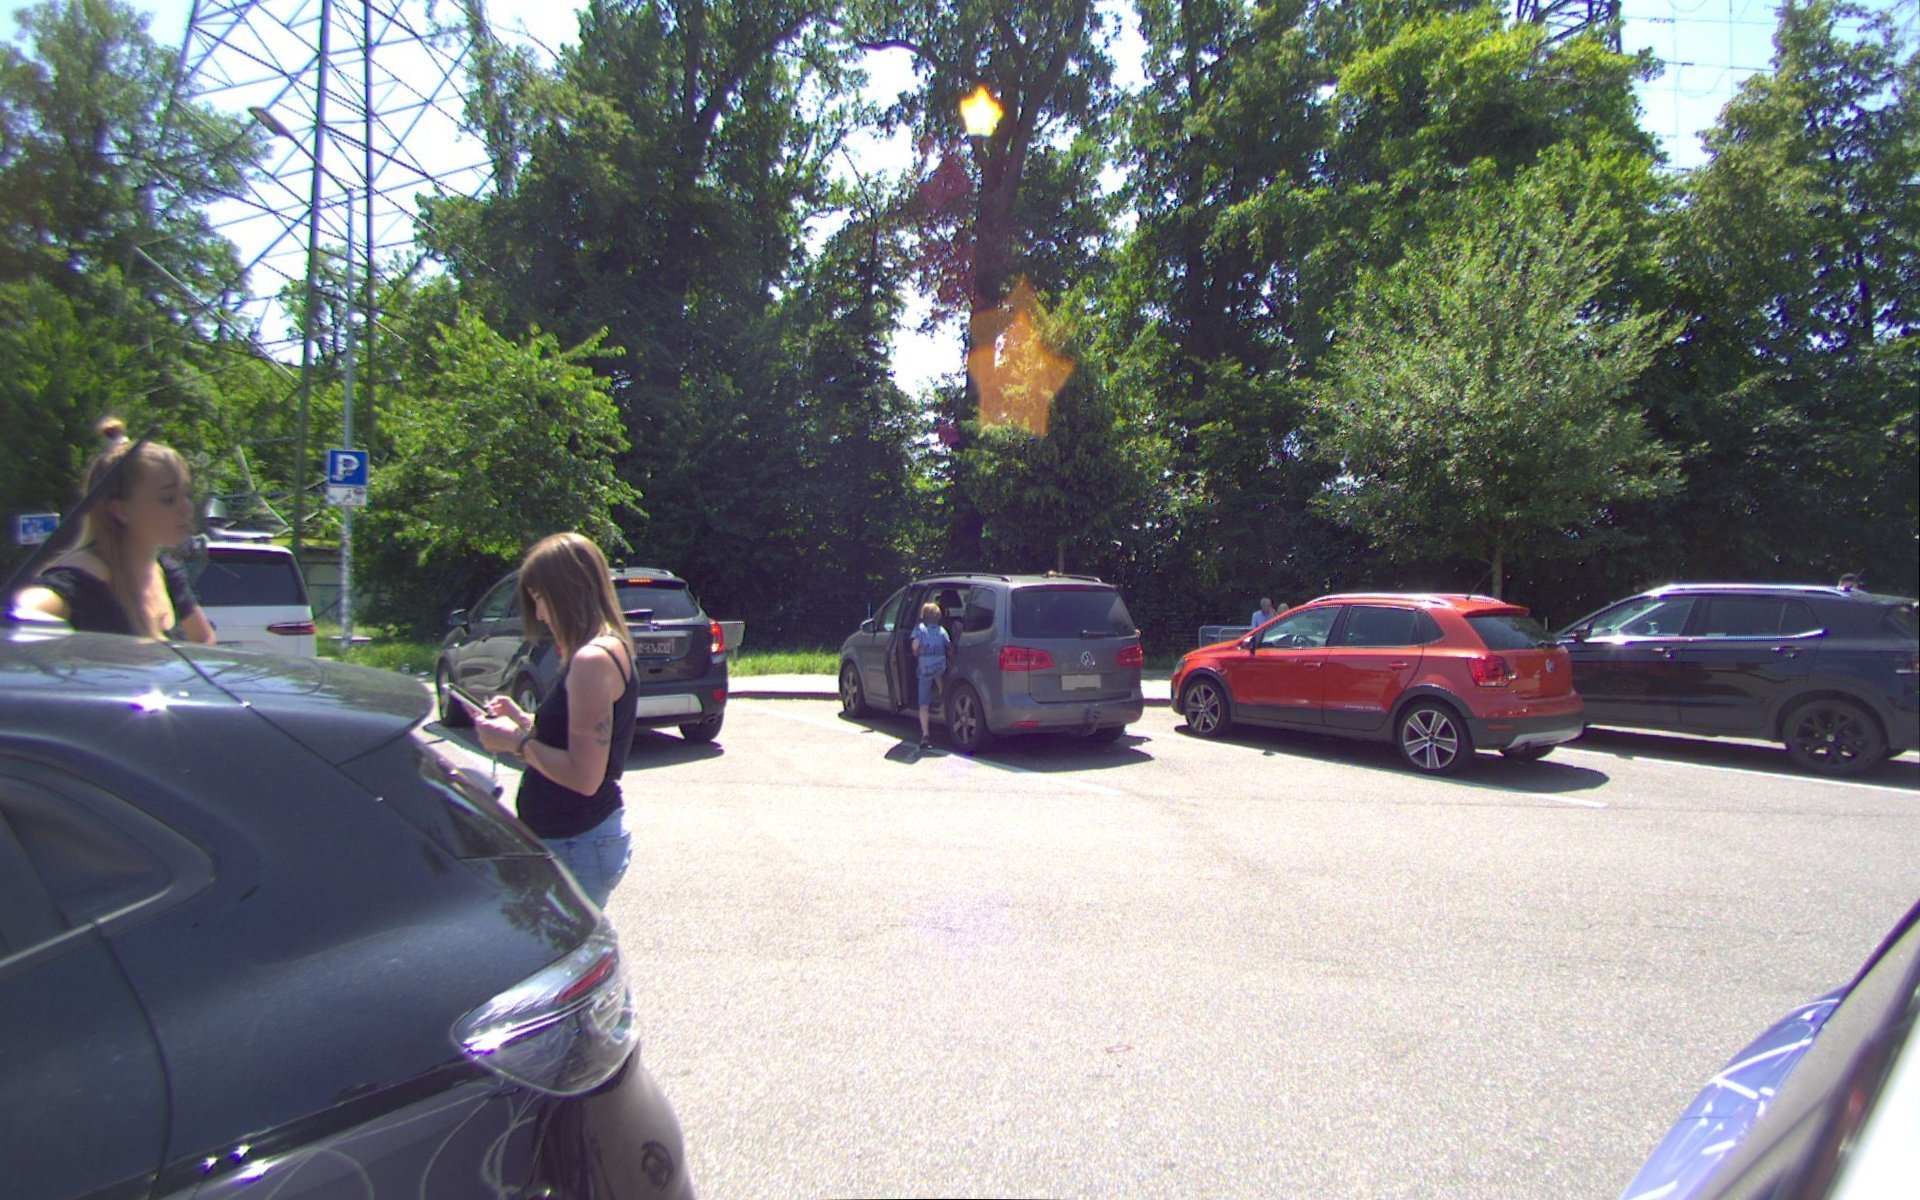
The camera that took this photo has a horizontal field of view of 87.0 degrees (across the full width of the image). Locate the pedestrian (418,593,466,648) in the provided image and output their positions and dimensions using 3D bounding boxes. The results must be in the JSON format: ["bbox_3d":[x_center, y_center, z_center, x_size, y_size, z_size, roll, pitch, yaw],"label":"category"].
[{"bbox_3d":[-11.510,0.442,22.477,0.785,1.178,0.696,0,0,39],"label":"pedestrian"}]

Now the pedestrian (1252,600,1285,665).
[{"bbox_3d":[5.818,0.604,19.087,0.433,1.207,0.414,0,0,-30],"label":"pedestrian"}]

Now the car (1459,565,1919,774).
[{"bbox_3d":[7.125,0.547,9.706,1.679,1.637,3.863,1,0,-40],"label":"car"}]

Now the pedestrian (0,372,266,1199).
[{"bbox_3d":[-1.948,0.509,2.366,0.478,1.883,0.913,1,-1,-33],"label":"pedestrian"}]

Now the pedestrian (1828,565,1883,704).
[{"bbox_3d":[13.086,0.495,14.803,0.570,1.979,0.425,0,-1,38],"label":"pedestrian"}]

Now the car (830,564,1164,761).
[{"bbox_3d":[0.176,0.509,10.562,1.670,1.637,3.912,0,0,-30],"label":"car"}]

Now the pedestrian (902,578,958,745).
[{"bbox_3d":[-0.280,0.559,9.515,0.511,1.516,0.560,0,0,-1],"label":"pedestrian"}]

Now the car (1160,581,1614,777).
[{"bbox_3d":[3.843,0.599,9.679,1.588,1.485,3.751,1,0,-34],"label":"car"}]

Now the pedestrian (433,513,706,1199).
[{"bbox_3d":[-0.997,0.613,2.581,0.477,1.614,0.502,1,-1,-44],"label":"pedestrian"}]

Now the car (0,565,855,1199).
[{"bbox_3d":[-2.031,0.716,0.803,1.776,1.476,3.629,0,0,43],"label":"car"}]

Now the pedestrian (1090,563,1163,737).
[{"bbox_3d":[1.713,0.498,10.443,0.576,1.744,0.483,0,0,-20],"label":"pedestrian"}]

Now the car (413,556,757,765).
[{"bbox_3d":[-3.903,0.470,10.114,1.807,1.637,4.159,1,0,-42],"label":"car"}]

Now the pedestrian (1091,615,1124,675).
[{"bbox_3d":[2.288,0.692,15.680,0.494,0.890,0.512,0,0,10],"label":"pedestrian"}]

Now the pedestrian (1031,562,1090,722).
[{"bbox_3d":[1.124,0.456,11.327,0.500,1.744,0.438,0,0,-24],"label":"pedestrian"}]

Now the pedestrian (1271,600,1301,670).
[{"bbox_3d":[5.777,0.614,17.931,0.348,1.207,0.367,0,0,-20],"label":"pedestrian"}]

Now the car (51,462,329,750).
[{"bbox_3d":[-8.455,0.041,10.908,1.897,2.400,4.963,1,-1,-43],"label":"car"}]
